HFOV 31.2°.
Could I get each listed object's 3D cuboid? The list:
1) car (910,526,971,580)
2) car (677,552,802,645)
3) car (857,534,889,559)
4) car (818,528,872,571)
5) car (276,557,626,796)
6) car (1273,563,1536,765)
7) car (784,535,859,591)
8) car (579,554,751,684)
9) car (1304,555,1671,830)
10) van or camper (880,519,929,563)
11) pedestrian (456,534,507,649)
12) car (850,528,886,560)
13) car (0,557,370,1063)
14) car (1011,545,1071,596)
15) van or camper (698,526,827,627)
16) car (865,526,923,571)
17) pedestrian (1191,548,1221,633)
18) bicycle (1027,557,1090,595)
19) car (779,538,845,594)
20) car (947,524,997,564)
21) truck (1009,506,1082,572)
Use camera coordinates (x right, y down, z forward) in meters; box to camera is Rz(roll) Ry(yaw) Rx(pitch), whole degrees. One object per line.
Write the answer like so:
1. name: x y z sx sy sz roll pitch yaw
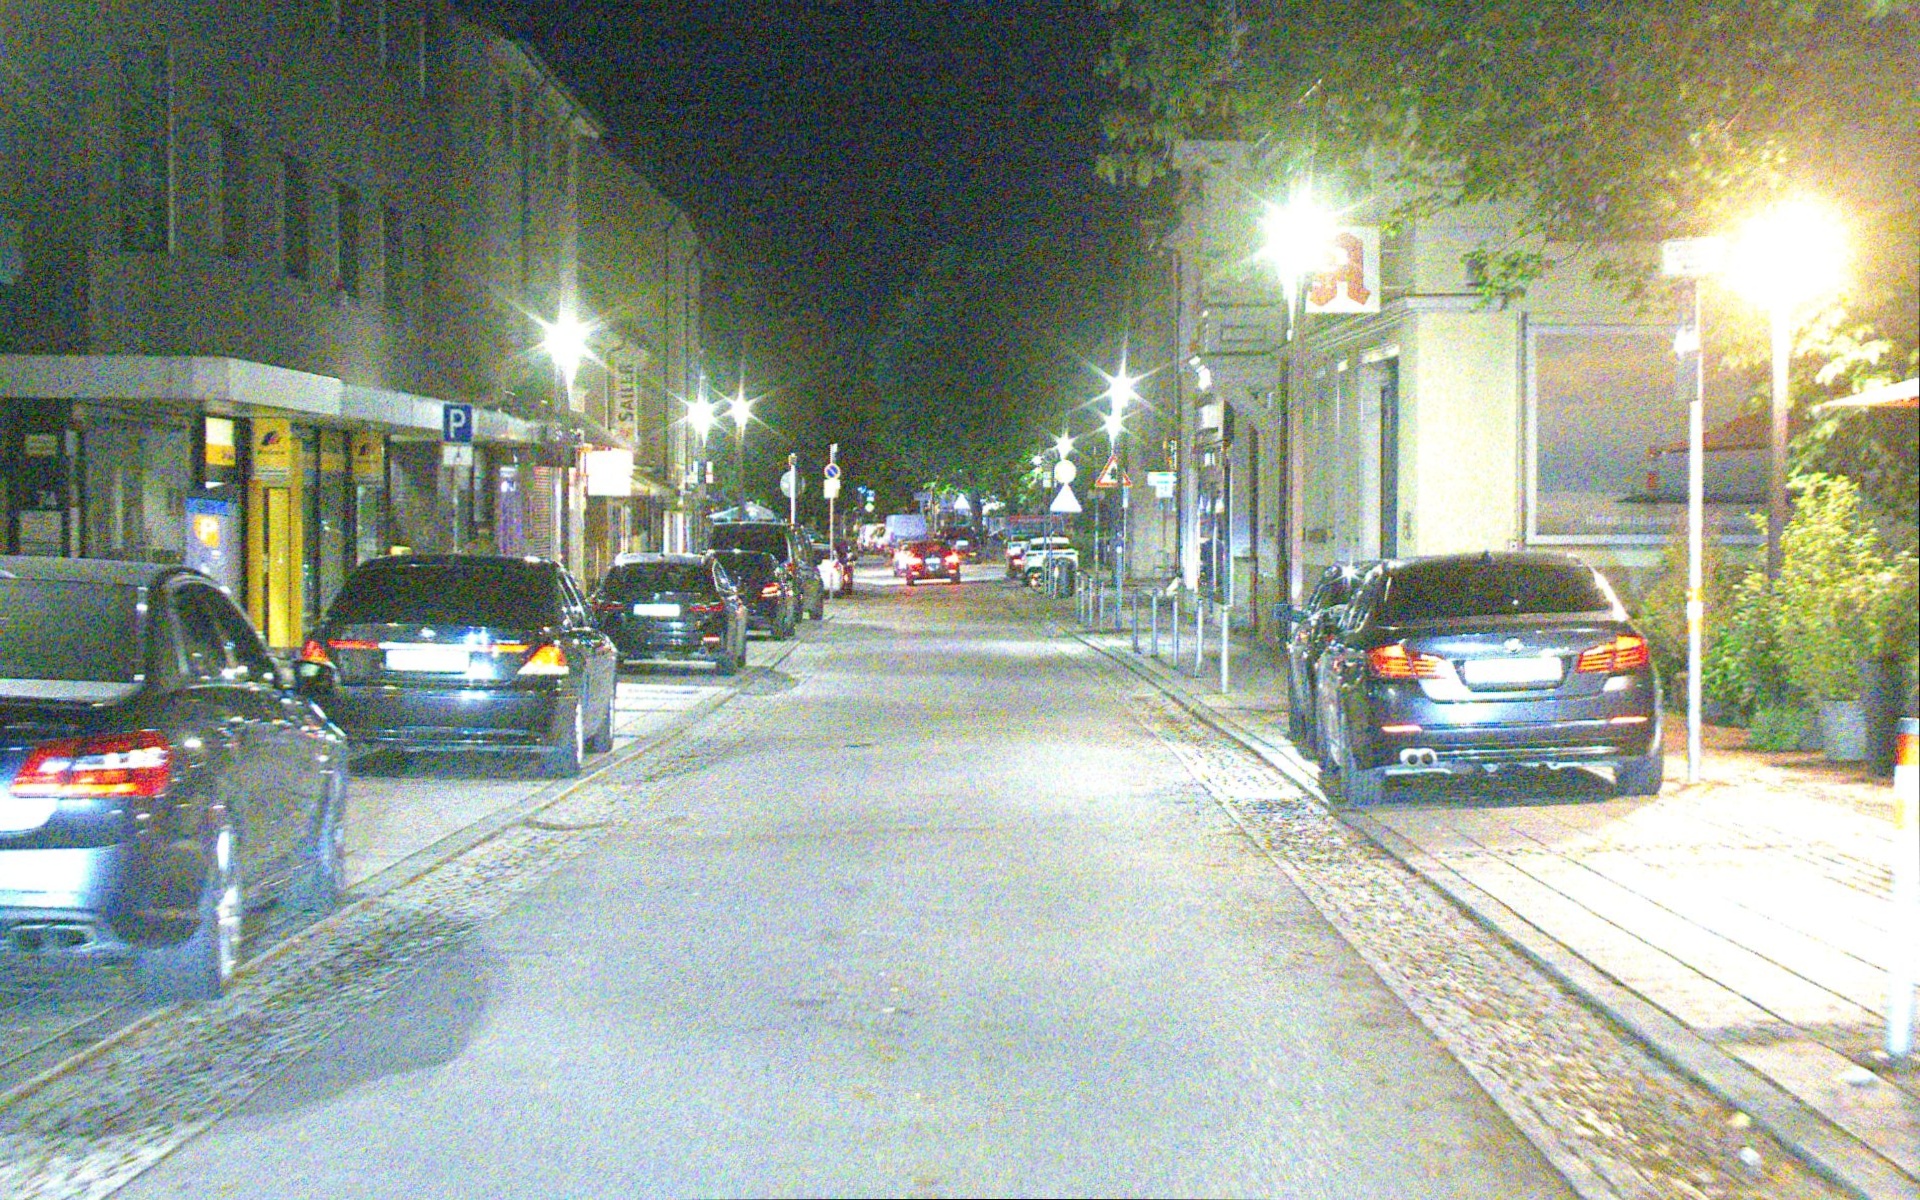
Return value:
1. car: -0.682 -1.617 117.737 1.993 1.817 4.000 0 1 -1
2. car: -3.577 -0.051 56.396 1.717 1.408 4.385 1 1 0
3. car: -5.028 -3.076 198.664 1.531 1.413 3.846 0 1 -6
4. car: -4.310 -1.905 128.627 1.673 1.538 4.231 1 1 -6
5. car: -3.469 0.460 24.212 1.845 1.459 4.624 1 1 -1
6. car: 3.378 0.439 26.730 1.661 1.373 4.103 -2 1 3
7. car: -4.006 -1.093 100.419 2.019 1.483 5.008 3 1 -1
8. car: -3.559 0.191 42.174 1.797 1.473 4.322 1 1 -1
9. car: 3.147 0.489 21.315 1.753 1.459 4.466 -2 1 3
10. van or camper: -3.002 -3.184 185.425 2.108 2.309 4.263 -2 1 -7
11. pedestrian: -7.305 -0.138 52.503 0.621 1.739 1.023 1 1 0
12. car: -5.490 -3.328 204.247 1.839 1.894 3.846 0 1 -6
13. car: -3.364 0.595 12.403 1.899 1.465 4.526 0 1 -3
14. car: 2.541 -0.946 108.666 1.789 1.486 4.059 -2 1 0
15. van or camper: -3.919 -0.503 69.076 1.846 1.935 5.153 1 1 5
16. car: -2.588 -2.024 134.094 1.993 1.697 4.001 0 1 -5
17. pedestrian: 4.532 -0.177 63.336 0.501 1.542 0.480 1 1 6
18. bicycle: 2.784 -0.674 97.082 1.754 1.058 0.346 -1 1 -3
19. car: -4.061 -0.947 94.970 1.728 1.471 3.847 1 1 -1
20. car: 0.522 -2.628 159.596 1.814 1.822 4.348 -1 1 -6
21. truck: 3.052 -2.221 123.654 2.336 2.304 5.781 -1 1 -1
